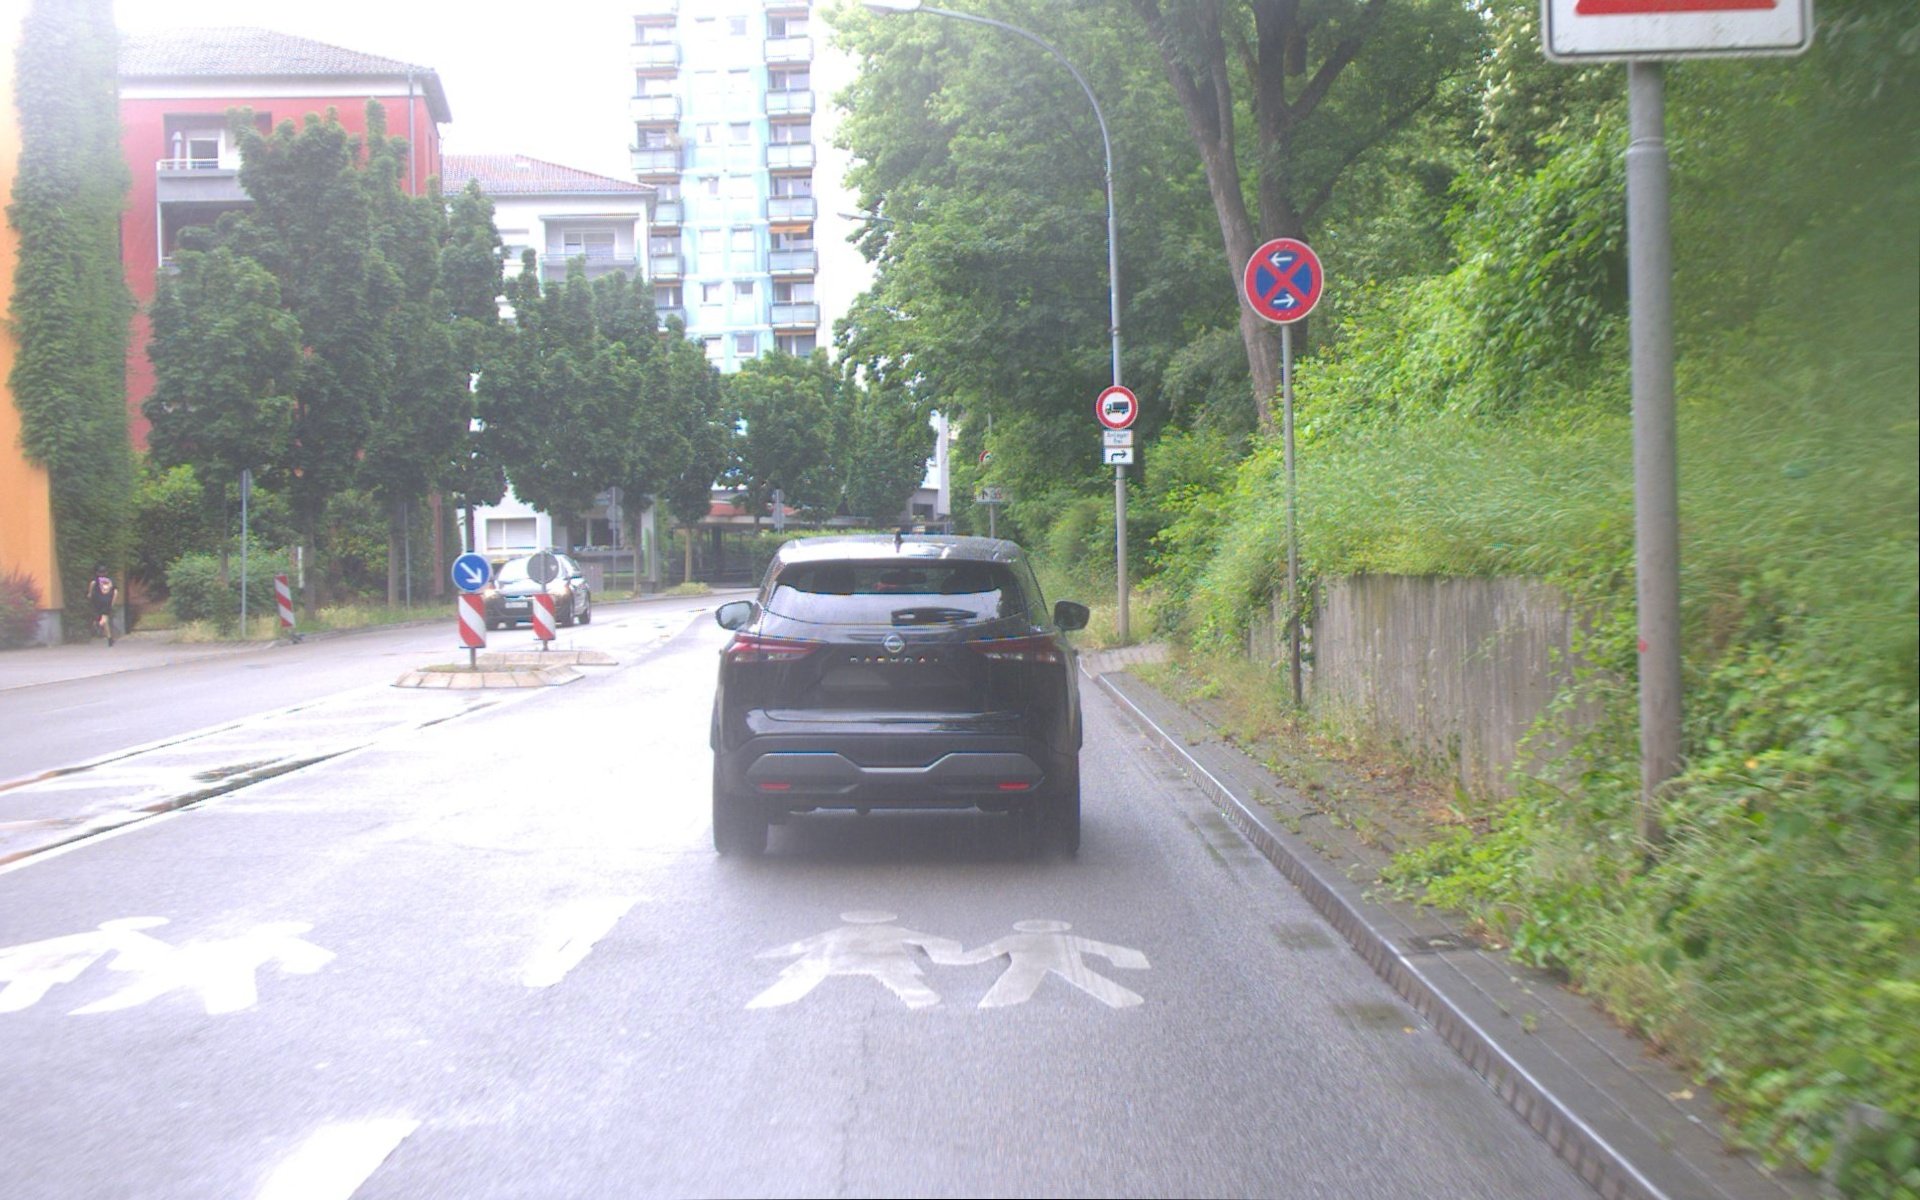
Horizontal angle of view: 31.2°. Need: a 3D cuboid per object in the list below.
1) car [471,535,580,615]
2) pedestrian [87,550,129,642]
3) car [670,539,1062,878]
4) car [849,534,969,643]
[{"bbox_3d":[-8.922,-0.535,70.877,1.787,1.499,4.649,-3,1,-2],"label":"car"},{"bbox_3d":[-15.711,-0.079,63.400,0.608,1.668,0.594,-2,1,-4],"label":"pedestrian"},{"bbox_3d":[-0.506,0.477,18.234,1.844,1.577,4.001,0,1,-2],"label":"car"},{"bbox_3d":[-0.849,-0.214,56.820,1.887,1.705,4.000,-1,1,-1],"label":"car"}]
